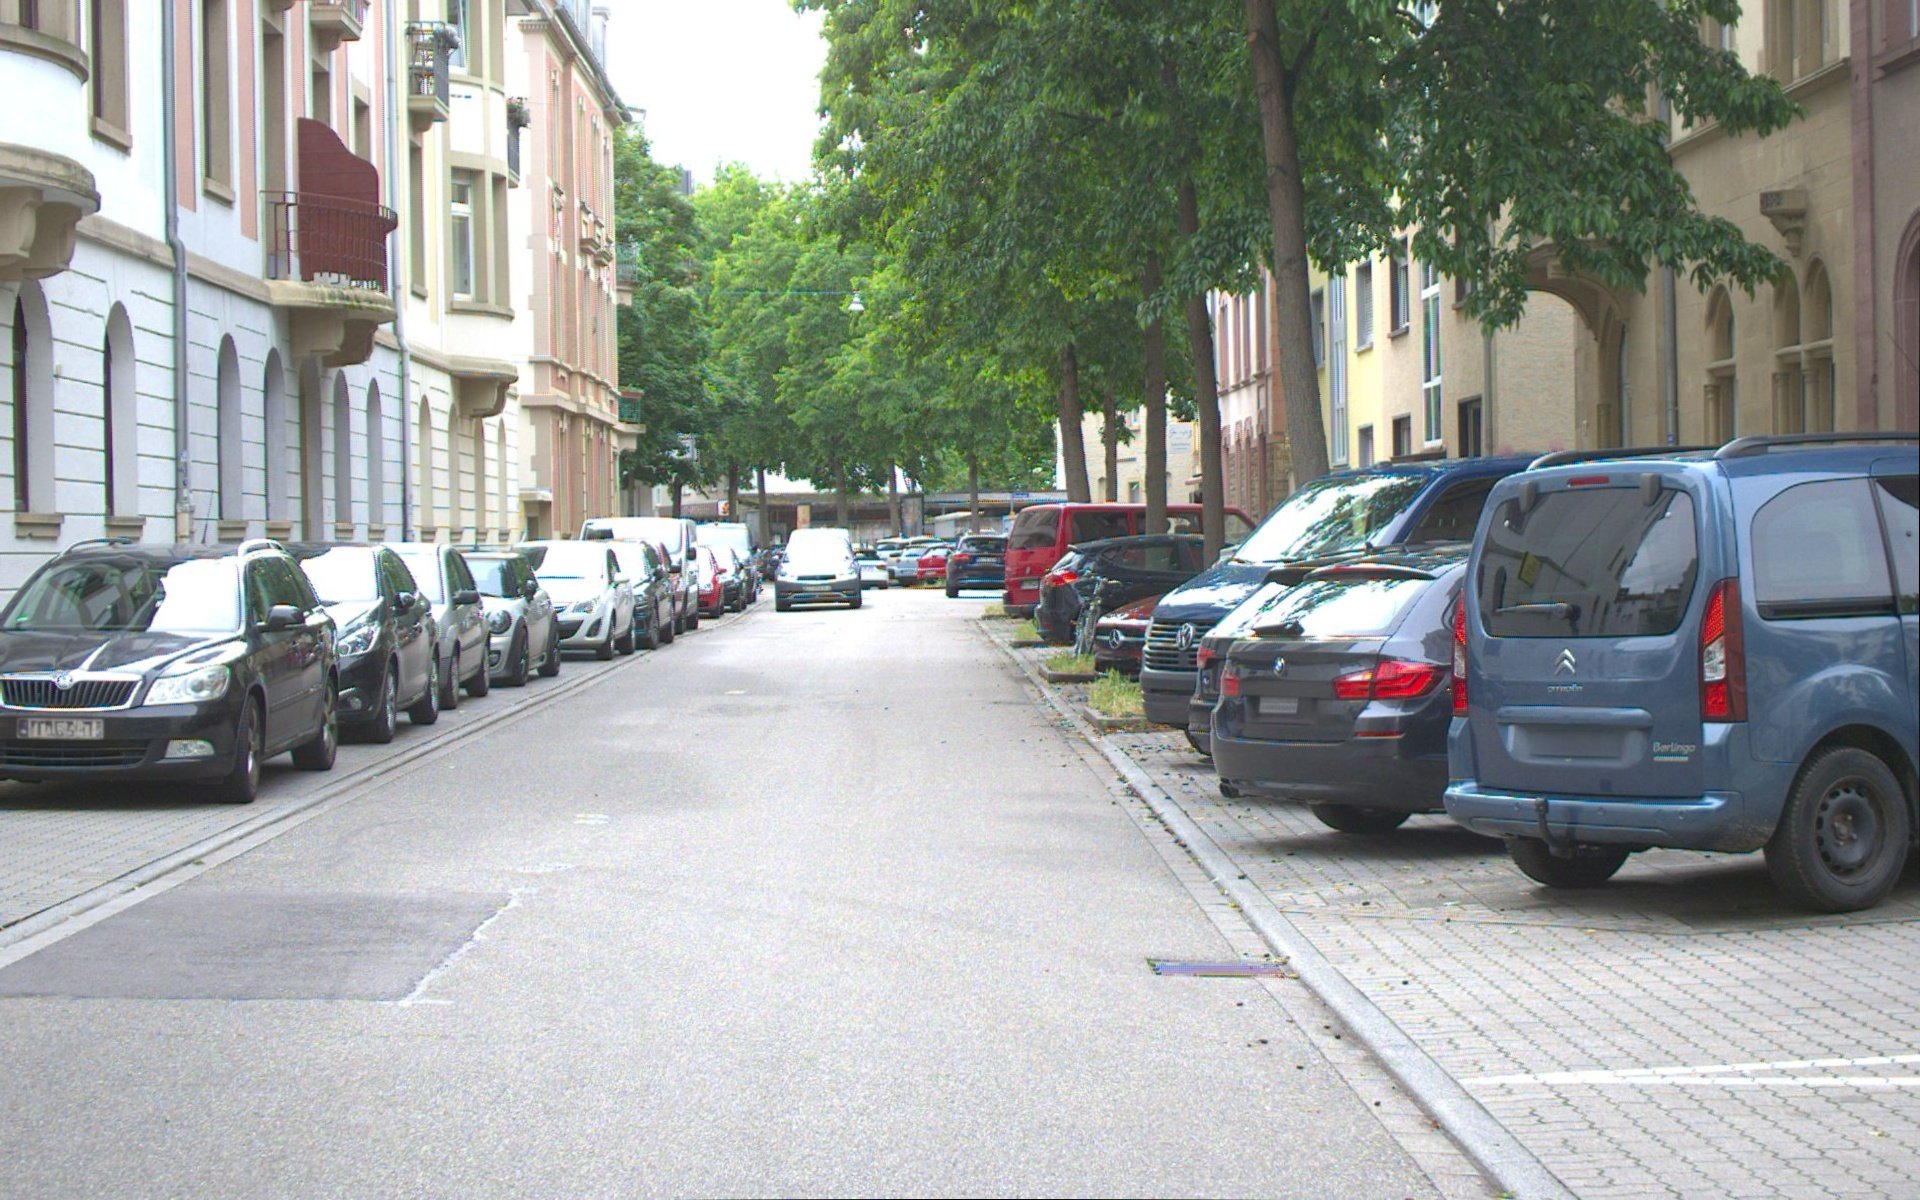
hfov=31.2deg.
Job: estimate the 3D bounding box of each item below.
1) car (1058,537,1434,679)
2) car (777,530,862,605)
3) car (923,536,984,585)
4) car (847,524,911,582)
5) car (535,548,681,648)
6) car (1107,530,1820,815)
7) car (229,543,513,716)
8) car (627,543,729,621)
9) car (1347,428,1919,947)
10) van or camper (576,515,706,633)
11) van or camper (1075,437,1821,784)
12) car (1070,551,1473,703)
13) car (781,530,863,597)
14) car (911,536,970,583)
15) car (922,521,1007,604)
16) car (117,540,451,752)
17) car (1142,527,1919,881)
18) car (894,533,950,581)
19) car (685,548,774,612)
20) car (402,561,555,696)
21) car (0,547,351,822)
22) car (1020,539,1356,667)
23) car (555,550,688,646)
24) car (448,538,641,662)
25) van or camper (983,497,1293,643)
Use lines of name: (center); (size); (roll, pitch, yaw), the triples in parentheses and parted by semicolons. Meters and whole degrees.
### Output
car: (3.036, 0.067, 36.921); (3.760, 1.460, 1.729); (-1, 1, -6)
car: (-3.129, -0.749, 77.106); (1.821, 1.639, 3.754); (0, 1, -2)
car: (-0.225, -1.292, 110.503); (1.870, 1.525, 3.840); (0, 1, -2)
car: (-2.624, -1.489, 110.591); (1.993, 1.788, 4.000); (0, 0, -2)
car: (-5.047, -0.048, 49.643); (1.786, 1.369, 3.508); (0, 1, -1)
car: (2.993, 0.368, 20.313); (3.861, 1.494, 1.802); (-1, 1, -30)
car: (-5.263, 0.216, 31.214); (1.947, 1.398, 4.000); (2, 1, -2)
car: (-5.894, -0.396, 72.255); (1.786, 1.450, 3.888); (-4, 1, -1)
car: (3.957, 0.243, 14.457); (4.172, 1.863, 2.000); (-4, 1, -30)
van or camper: (-5.486, -0.473, 59.574); (1.881, 1.961, 4.408); (0, 1, -1)
van or camper: (3.339, 0.015, 23.238); (4.775, 2.130, 2.055); (-1, 1, -32)
car: (3.041, 0.244, 33.956); (3.709, 1.403, 1.576); (-1, 1, -6)
car: (-3.519, -0.949, 88.269); (1.908, 1.672, 4.000); (0, 1, 1)
car: (-0.667, -1.367, 114.924); (1.870, 1.525, 4.000); (0, 1, -2)
car: (0.096, -0.980, 87.703); (1.993, 2.007, 4.000); (2, 1, -2)
car: (-5.013, 0.288, 25.983); (1.829, 1.422, 3.802); (2, 1, -2)
car: (3.113, 0.438, 17.281); (4.010, 1.554, 1.884); (-1, 1, -31)
car: (-1.341, -1.510, 120.464); (1.870, 1.622, 4.000); (0, 1, -2)
car: (-5.167, -0.471, 77.491); (1.786, 1.369, 3.888); (0, 1, -1)
car: (-4.969, 0.263, 35.750); (1.209, 1.305, 3.261); (0, 1, -2)
car: (-4.833, 0.425, 20.505); (1.789, 1.475, 4.023); (0, 1, -2)
car: (2.696, 0.014, 41.104); (3.760, 1.460, 1.729); (-1, 1, -6)
car: (-5.345, -0.055, 54.713); (1.786, 1.439, 3.888); (0, 1, -1)
car: (-5.169, -0.031, 43.224); (1.993, 1.470, 4.000); (0, 1, -1)
van or camper: (2.640, -0.463, 50.850); (4.146, 2.078, 1.953); (-1, 1, -28)
